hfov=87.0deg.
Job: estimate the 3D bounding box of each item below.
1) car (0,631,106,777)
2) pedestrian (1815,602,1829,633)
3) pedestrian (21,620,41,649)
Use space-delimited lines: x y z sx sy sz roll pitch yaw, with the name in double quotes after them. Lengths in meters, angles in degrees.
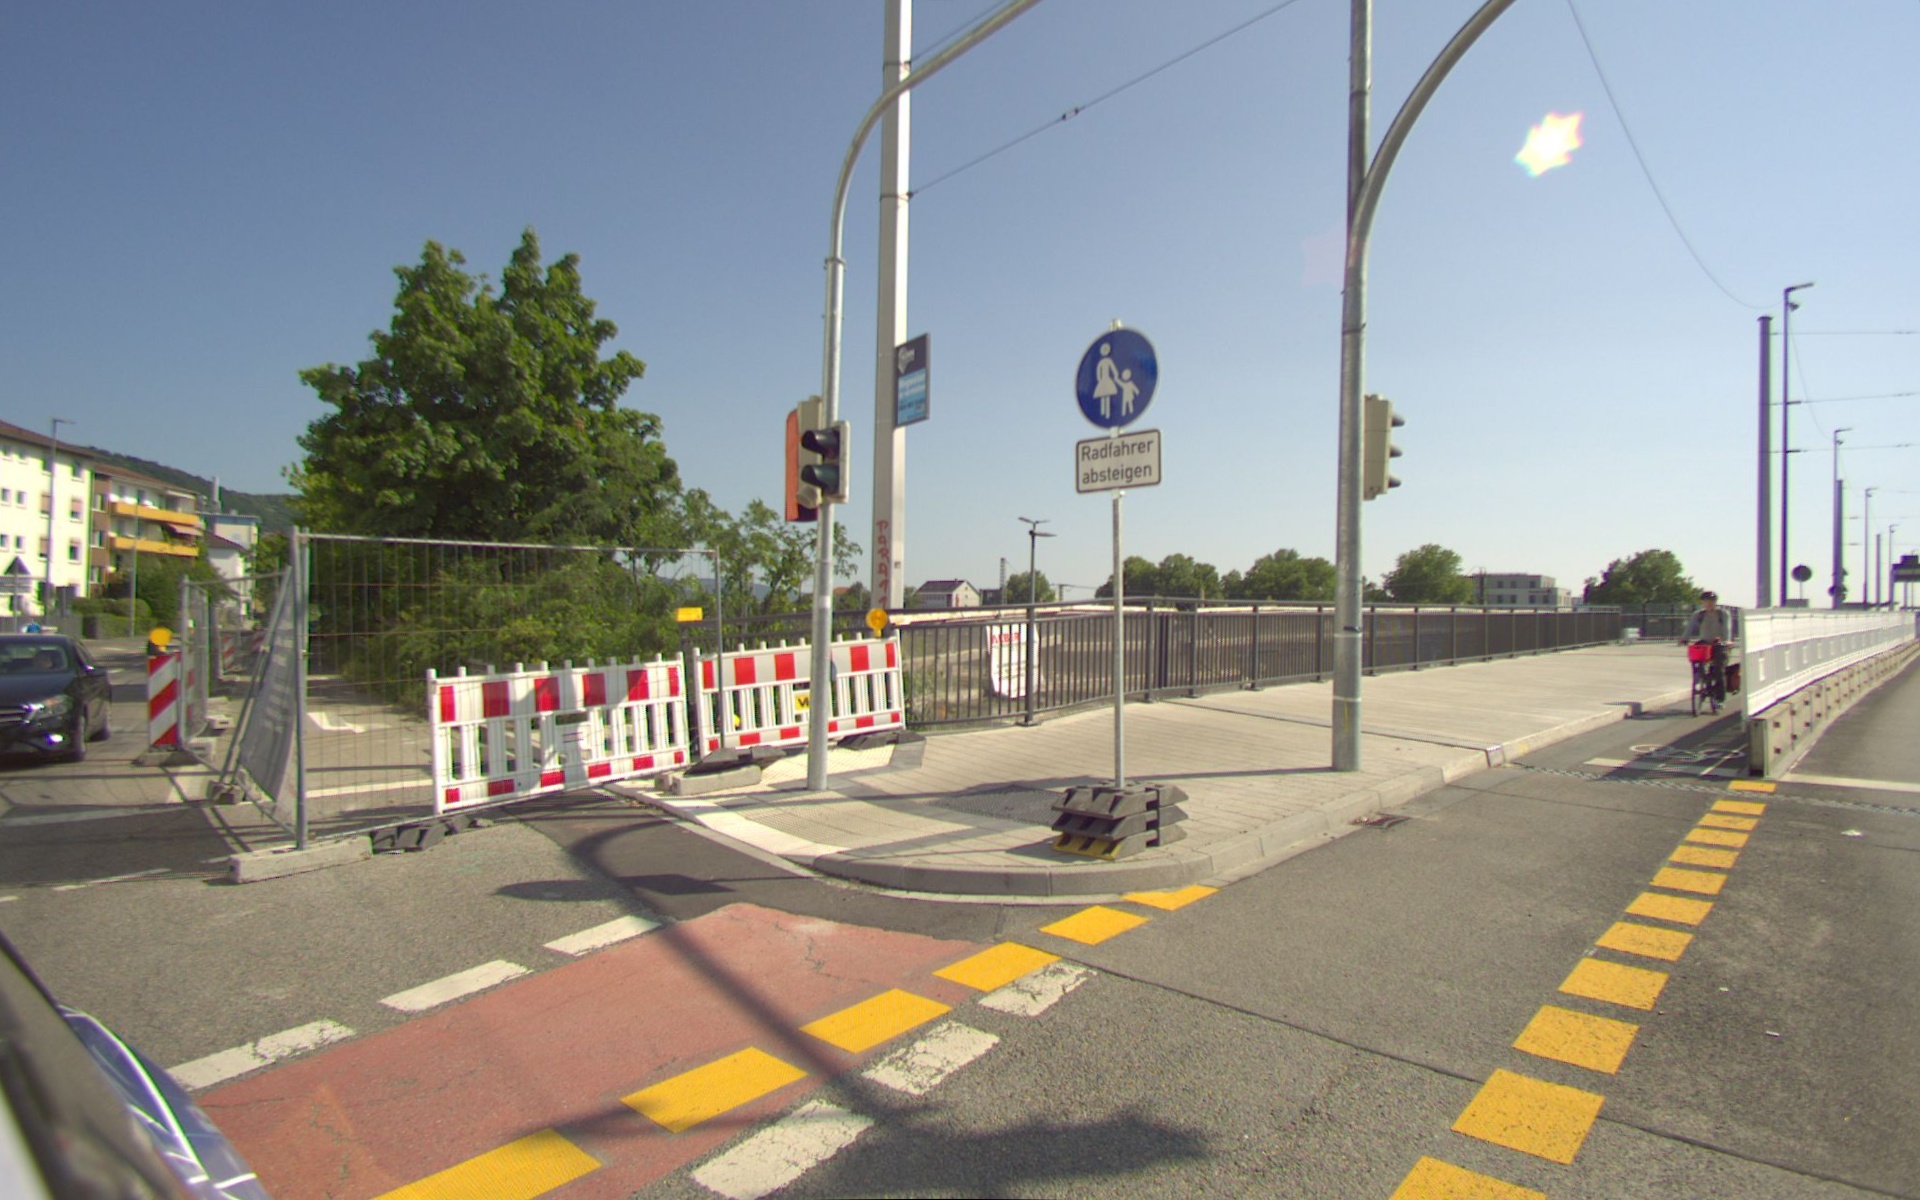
-11.158 1.083 11.670 1.676 1.419 4.633 1 -2 -36 "car"
53.926 1.070 63.310 0.636 1.908 0.741 1 0 44 "pedestrian"
-48.815 1.806 53.180 0.598 1.520 0.773 1 -1 -32 "pedestrian"
